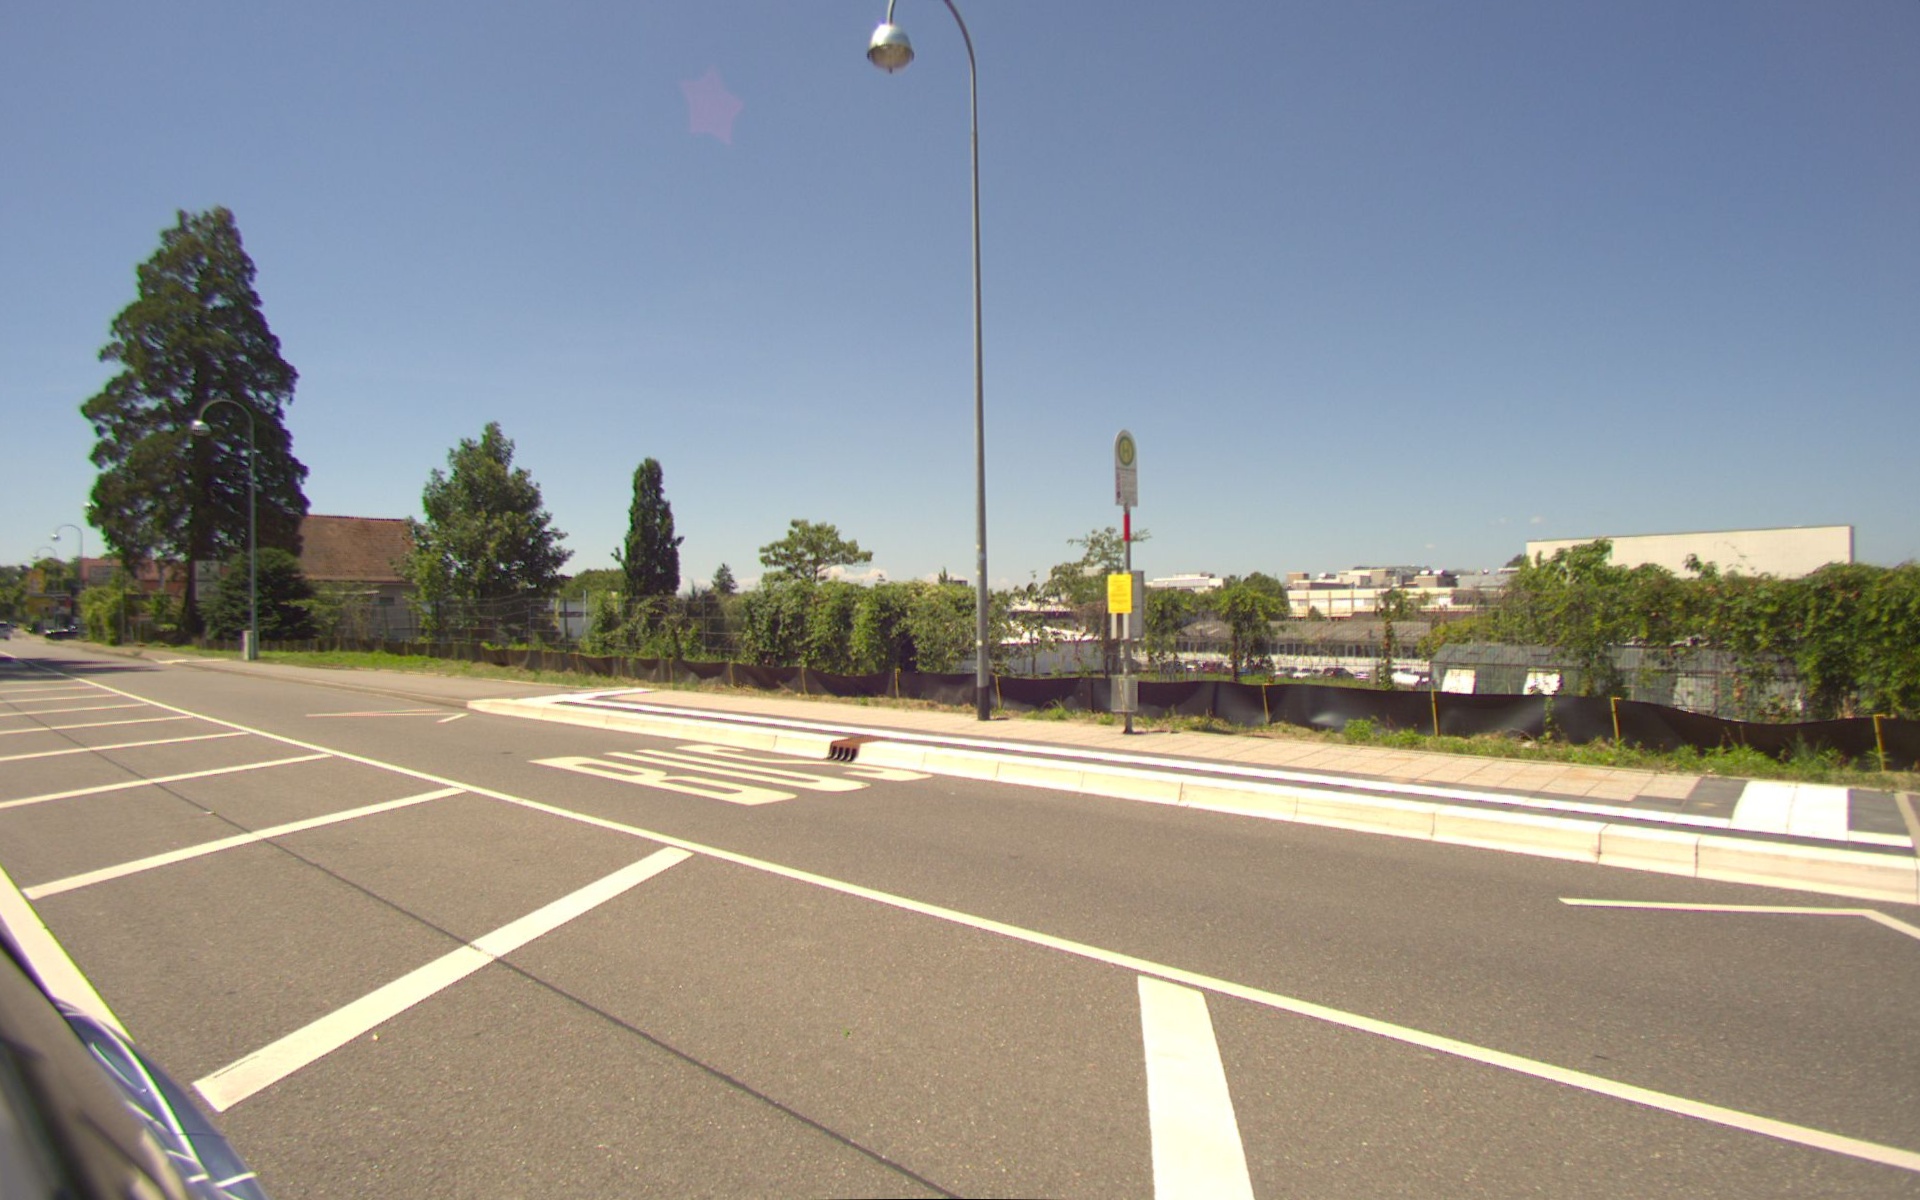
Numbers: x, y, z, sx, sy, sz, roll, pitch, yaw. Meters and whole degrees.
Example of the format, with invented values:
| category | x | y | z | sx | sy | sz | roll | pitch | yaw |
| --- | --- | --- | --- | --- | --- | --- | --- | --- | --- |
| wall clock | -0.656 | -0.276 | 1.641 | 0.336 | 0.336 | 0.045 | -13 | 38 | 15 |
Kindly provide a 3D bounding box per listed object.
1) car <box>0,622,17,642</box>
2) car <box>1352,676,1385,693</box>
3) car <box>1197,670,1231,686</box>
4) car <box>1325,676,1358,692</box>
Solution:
| category | x | y | z | sx | sy | sz | roll | pitch | yaw |
| --- | --- | --- | --- | --- | --- | --- | --- | --- | --- |
| car | -85.196 | 2.823 | 89.810 | 4.688 | 1.657 | 1.763 | -1 | -4 | 43 |
| car | 41.621 | 8.619 | 103.163 | 1.999 | 1.519 | 3.946 | -1 | -3 | 40 |
| car | 29.034 | 8.902 | 115.523 | 3.940 | 1.586 | 2.002 | 0 | -1 | -44 |
| car | 39.313 | 8.642 | 104.308 | 1.999 | 1.519 | 3.946 | -1 | -3 | 40 |
